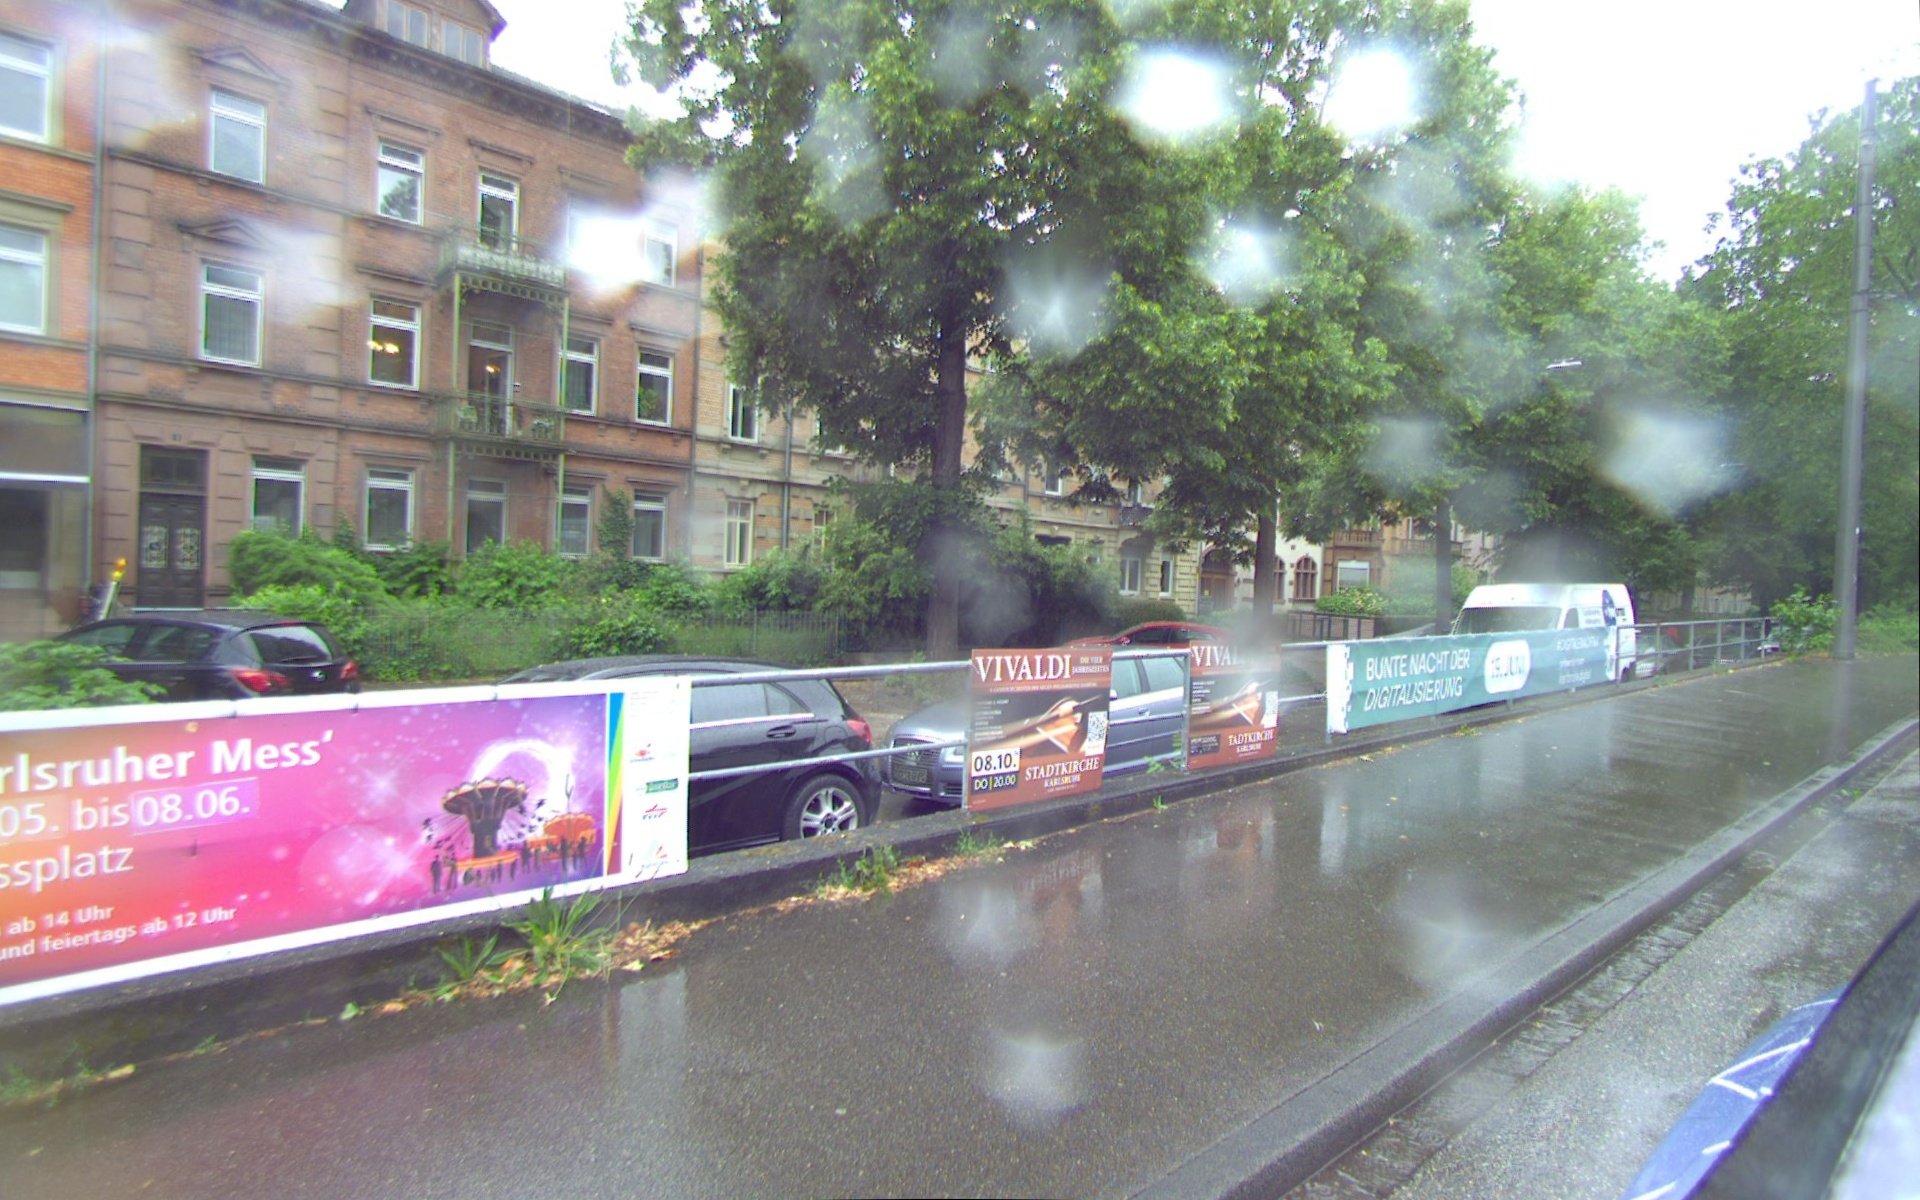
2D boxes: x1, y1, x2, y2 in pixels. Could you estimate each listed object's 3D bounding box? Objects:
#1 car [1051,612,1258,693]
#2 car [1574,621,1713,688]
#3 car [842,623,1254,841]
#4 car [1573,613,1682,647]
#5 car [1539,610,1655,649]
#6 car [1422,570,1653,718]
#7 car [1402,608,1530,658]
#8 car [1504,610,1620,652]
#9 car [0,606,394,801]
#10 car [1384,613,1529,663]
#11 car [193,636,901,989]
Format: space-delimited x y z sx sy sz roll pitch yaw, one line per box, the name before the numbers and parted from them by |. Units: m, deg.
car | 4.391 1.112 22.732 4.372 1.471 1.888 2 1 18
car | 16.537 1.239 24.404 4.312 1.370 1.968 0 0 -44
car | 0.996 1.057 9.778 4.006 1.559 1.734 0 0 -43
car | 32.073 1.420 48.730 3.942 1.482 1.904 0 1 15
car | 28.438 1.303 45.310 3.942 1.585 1.991 0 1 15
car | 11.365 0.712 19.667 6.055 2.451 2.211 0 0 -43
car | 17.913 1.141 36.035 3.958 1.523 1.645 2 2 25
car | 25.593 1.283 43.172 3.948 1.629 1.815 1 1 19
car | -8.486 0.981 11.210 3.958 1.735 1.983 1 1 26
car | 16.512 1.232 33.891 4.214 1.397 1.679 2 2 22
car | -2.444 1.033 6.523 3.903 1.417 1.706 0 1 -41
